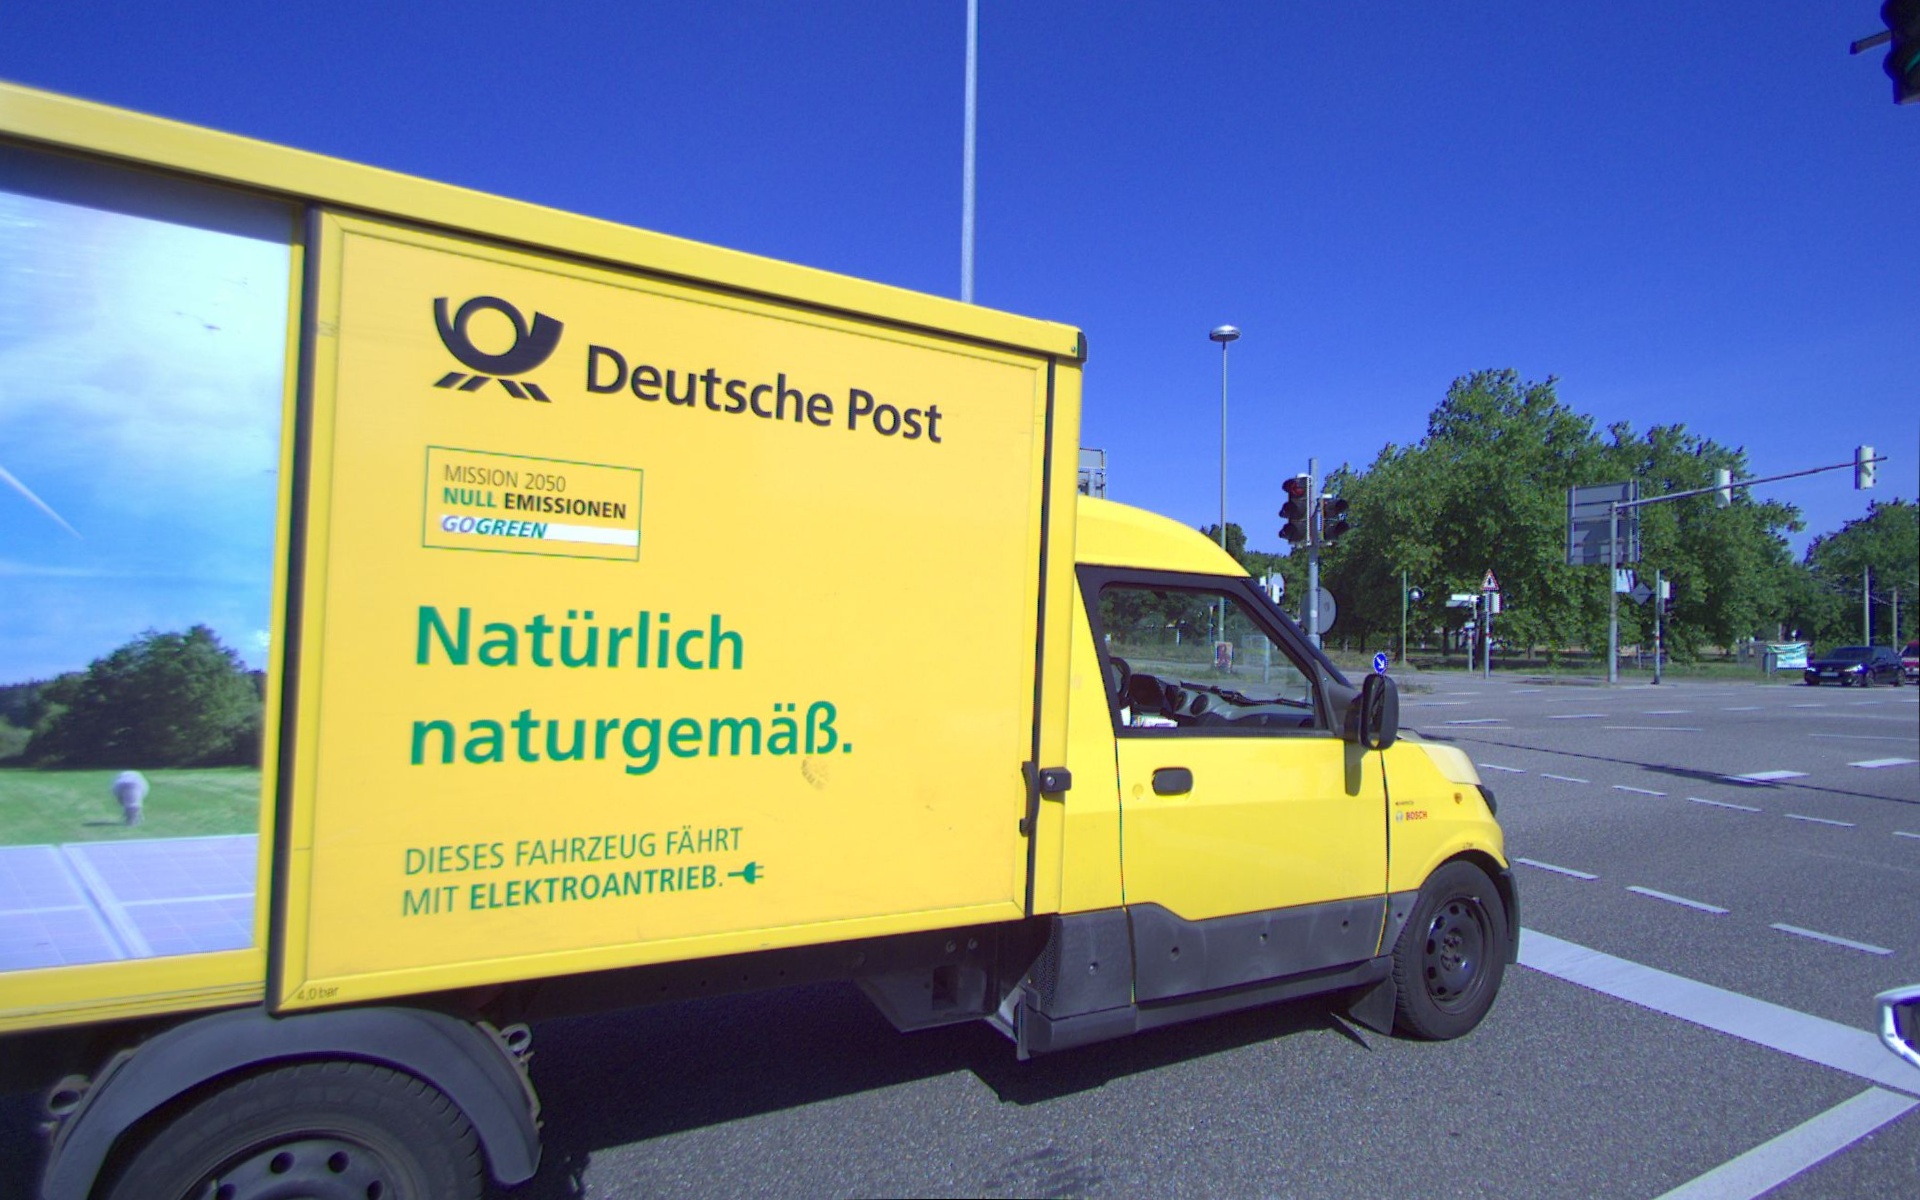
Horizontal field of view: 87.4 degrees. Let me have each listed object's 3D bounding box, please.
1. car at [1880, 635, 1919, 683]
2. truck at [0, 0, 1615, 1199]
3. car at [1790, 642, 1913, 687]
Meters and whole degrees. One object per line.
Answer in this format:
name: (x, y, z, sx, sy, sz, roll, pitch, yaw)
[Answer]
car: (37.426, 2.278, 38.841, 4.183, 1.793, 1.695, 2, -3, -33)
truck: (-0.688, 0.182, 3.143, 5.846, 2.490, 2.102, 2, 0, -30)
car: (31.733, 2.277, 35.767, 4.174, 1.476, 1.879, 2, -2, -27)
